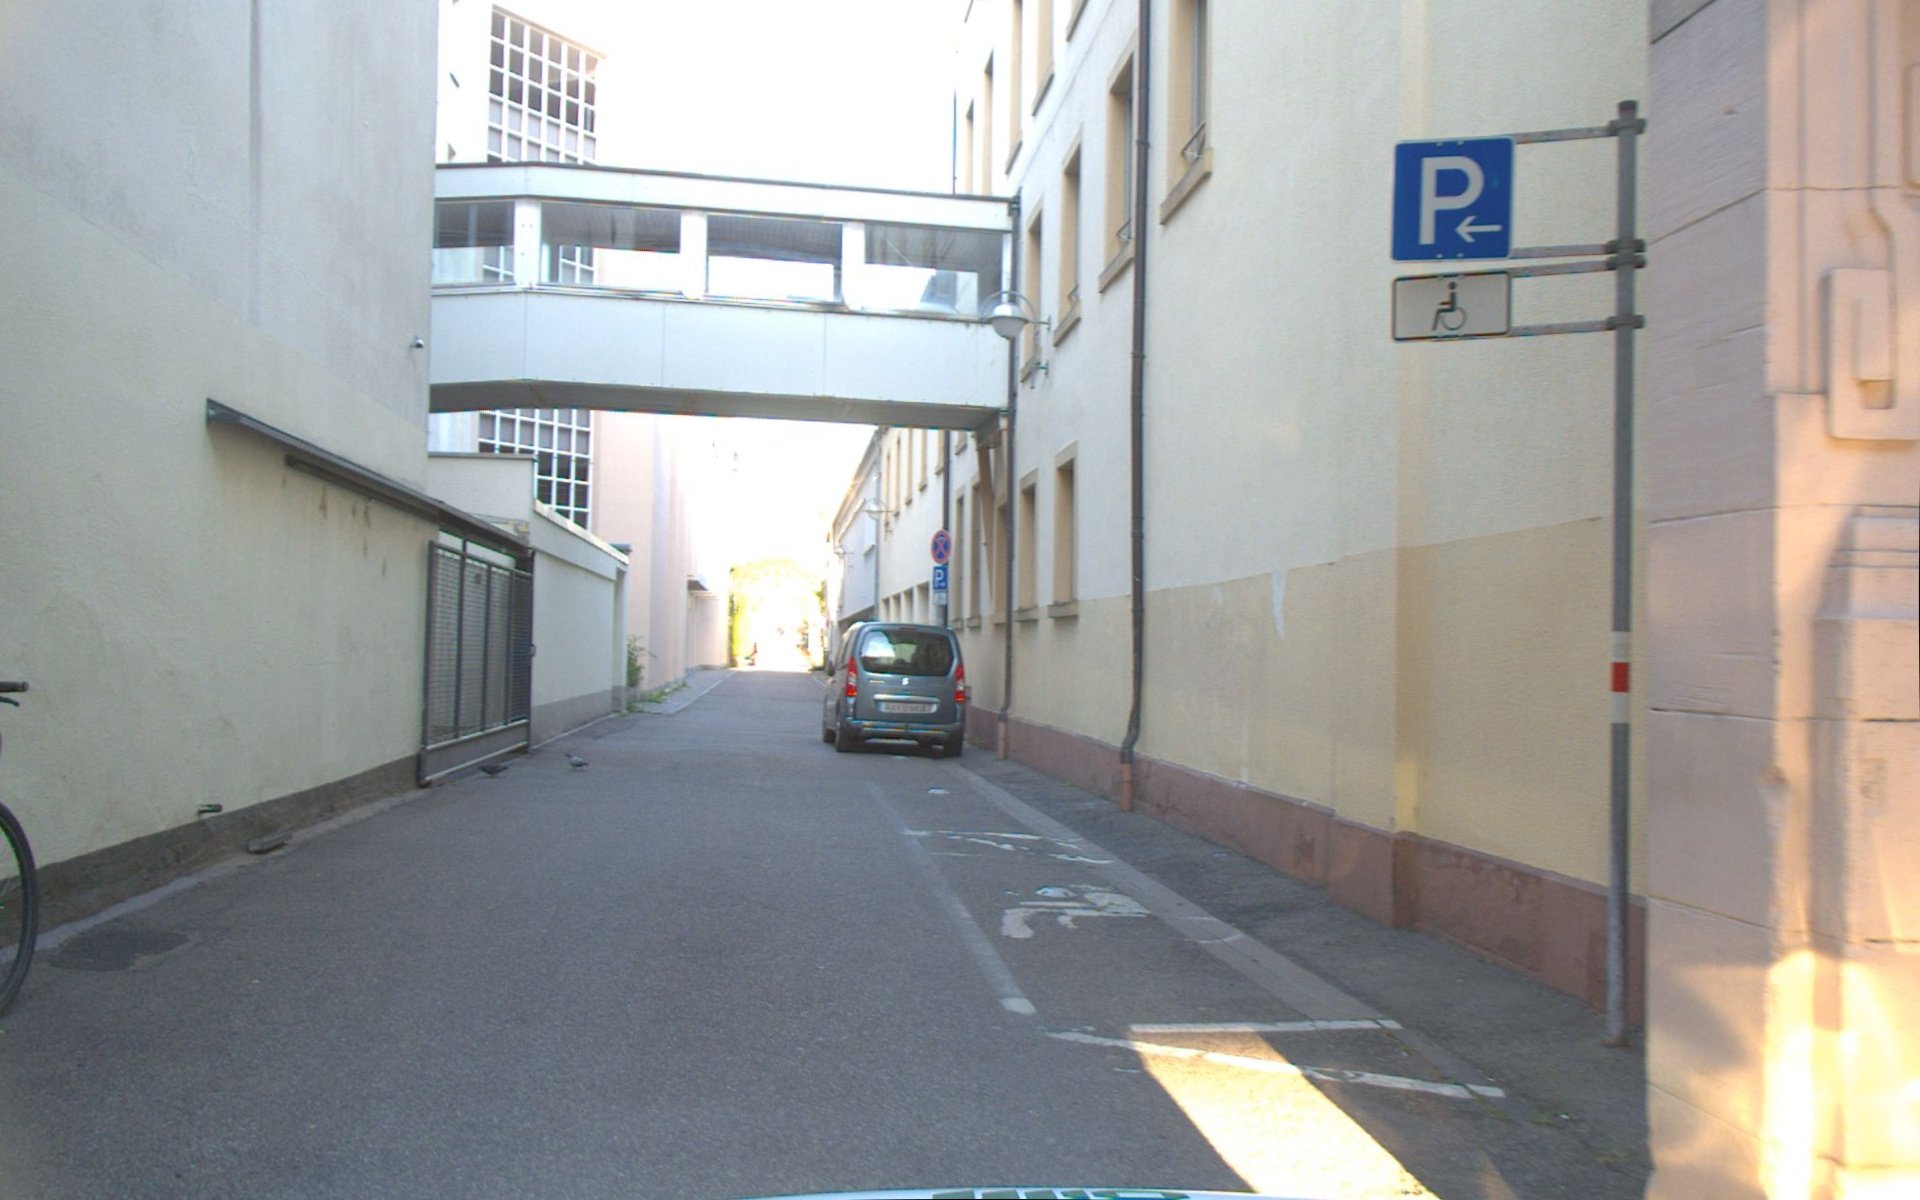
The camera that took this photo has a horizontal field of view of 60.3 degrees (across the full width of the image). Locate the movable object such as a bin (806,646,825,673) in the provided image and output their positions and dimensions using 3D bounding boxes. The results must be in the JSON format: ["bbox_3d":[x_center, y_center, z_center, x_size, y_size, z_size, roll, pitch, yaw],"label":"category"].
[{"bbox_3d":[-8.367,3.425,95.775,1.086,1.461,1.412,1,1,-6],"label":"movable object such as a bin"}]

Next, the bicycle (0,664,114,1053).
[{"bbox_3d":[-3.059,0.764,4.661,0.583,1.098,1.753,1,0,-6],"label":"bicycle"}]

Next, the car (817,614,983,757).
[{"bbox_3d":[-0.974,1.205,24.222,1.821,1.786,4.153,5,-2,-9],"label":"car"}]
